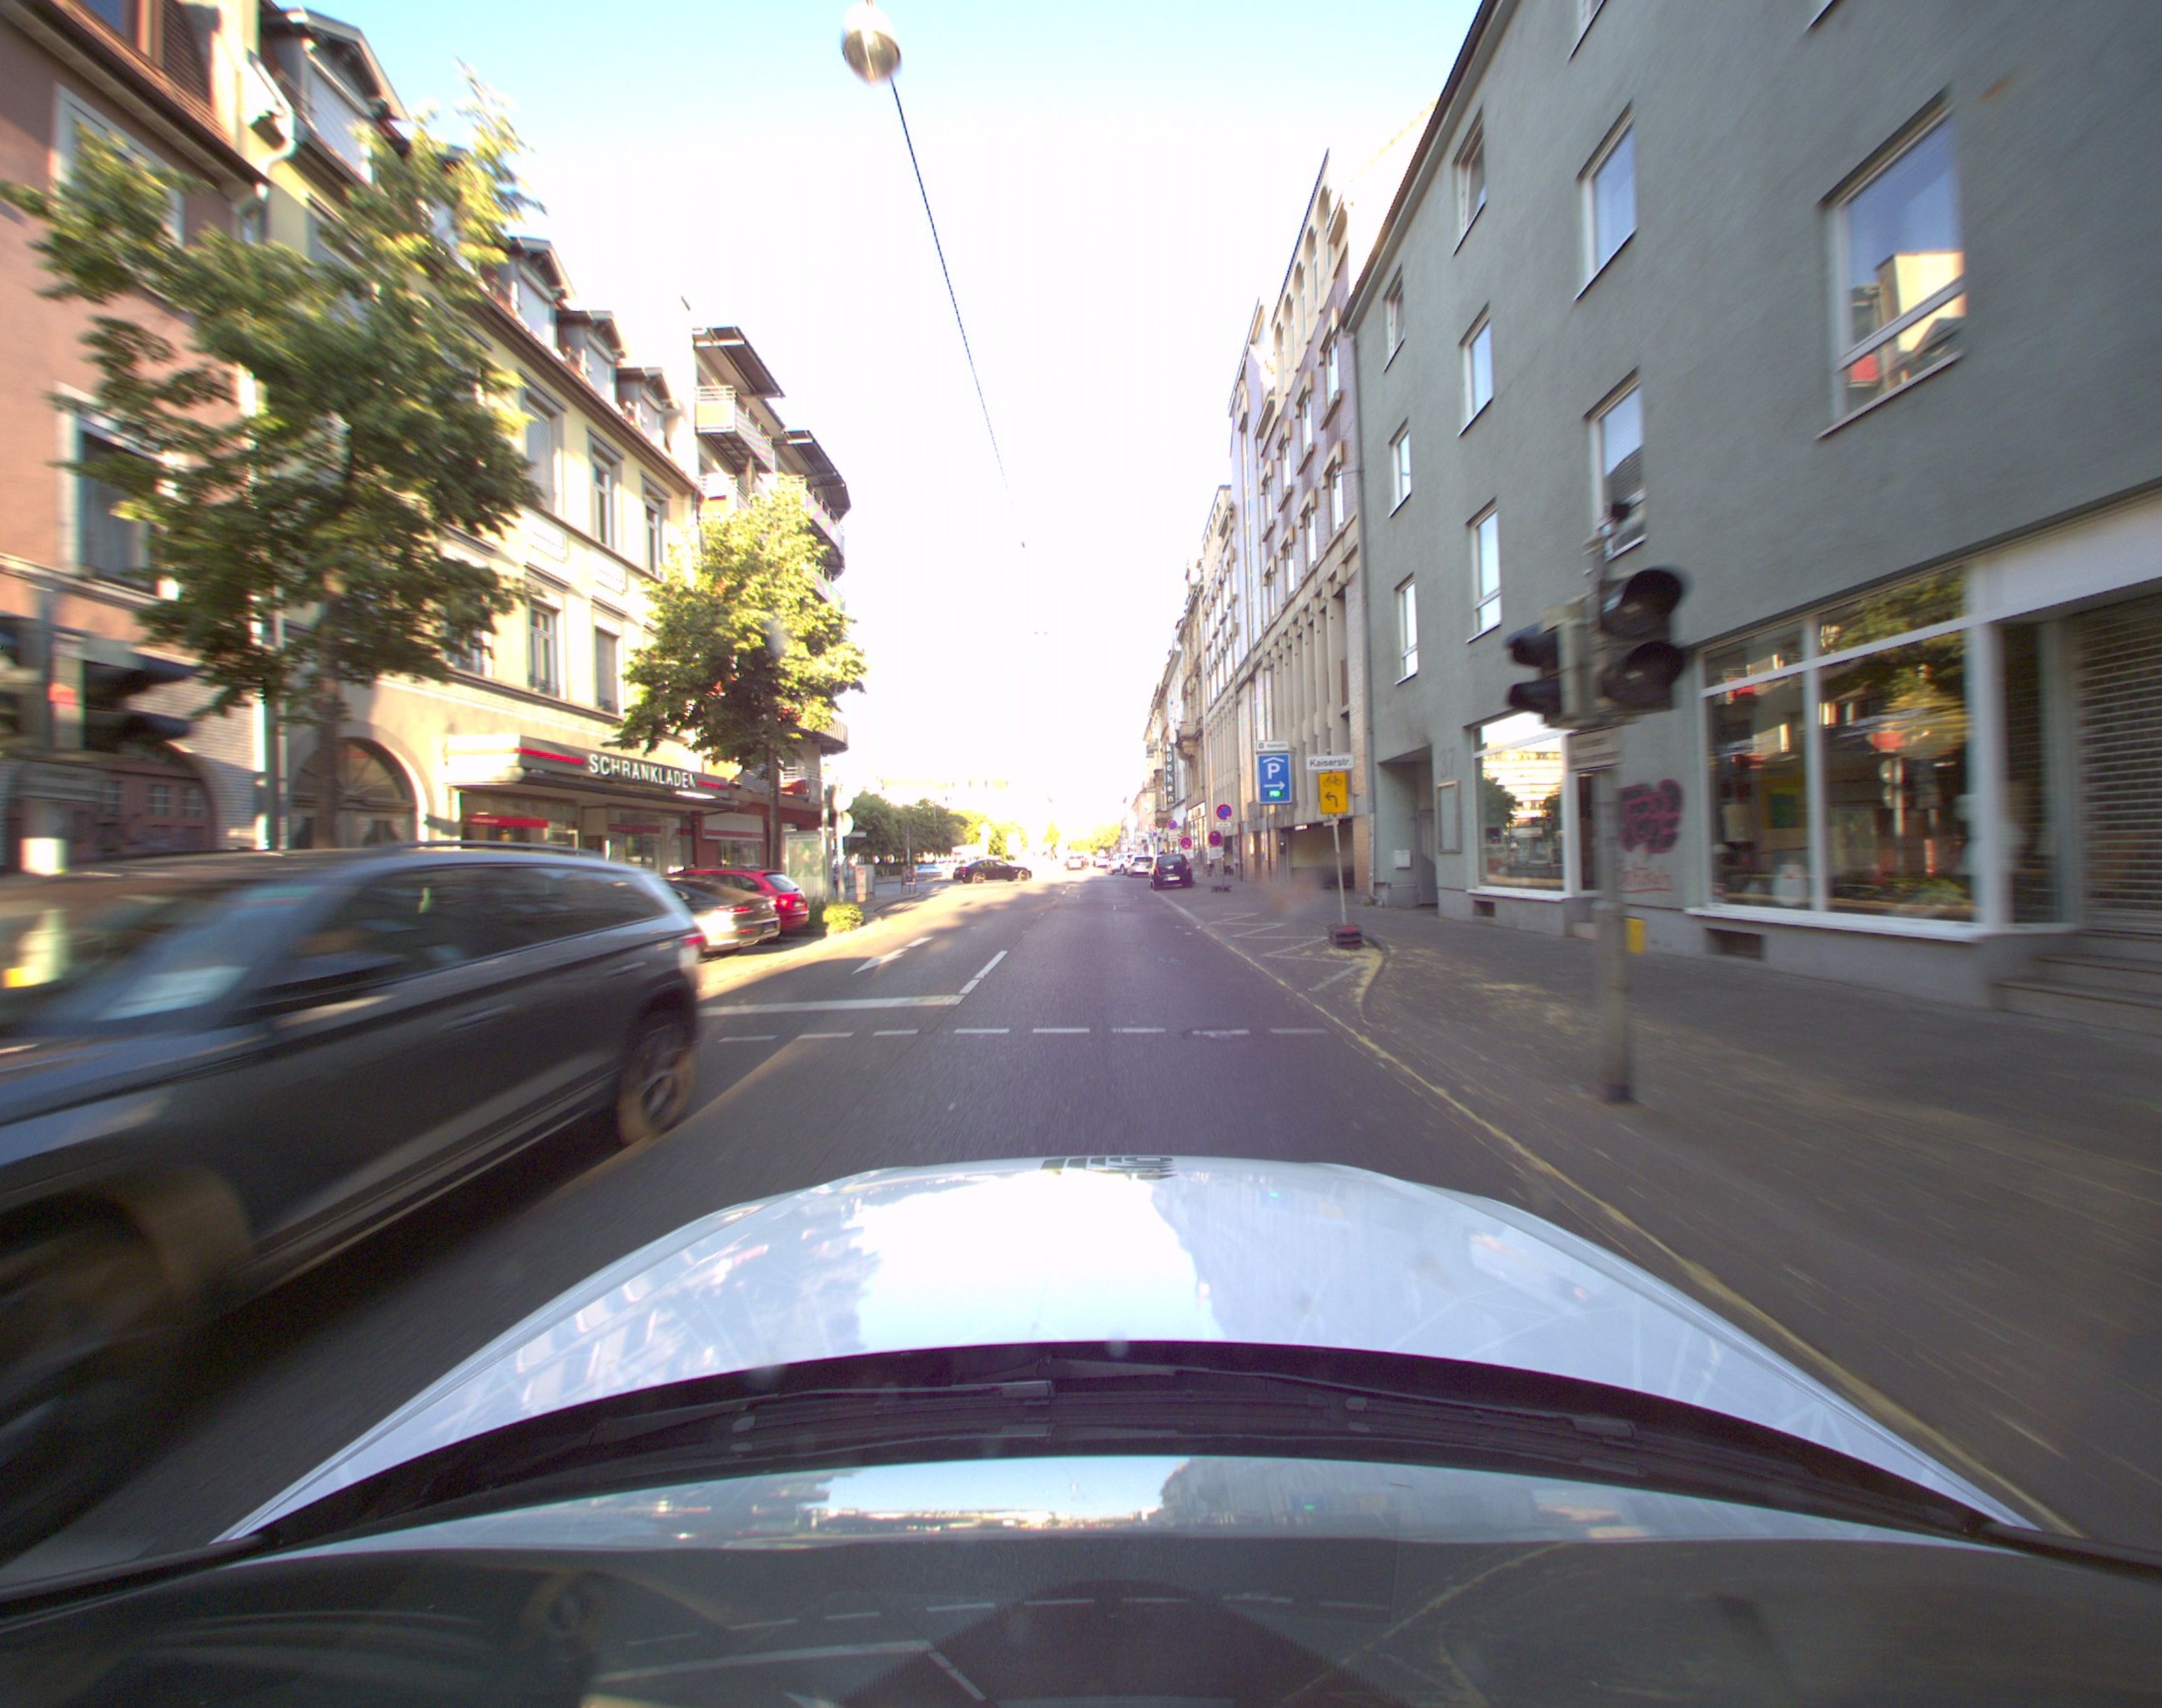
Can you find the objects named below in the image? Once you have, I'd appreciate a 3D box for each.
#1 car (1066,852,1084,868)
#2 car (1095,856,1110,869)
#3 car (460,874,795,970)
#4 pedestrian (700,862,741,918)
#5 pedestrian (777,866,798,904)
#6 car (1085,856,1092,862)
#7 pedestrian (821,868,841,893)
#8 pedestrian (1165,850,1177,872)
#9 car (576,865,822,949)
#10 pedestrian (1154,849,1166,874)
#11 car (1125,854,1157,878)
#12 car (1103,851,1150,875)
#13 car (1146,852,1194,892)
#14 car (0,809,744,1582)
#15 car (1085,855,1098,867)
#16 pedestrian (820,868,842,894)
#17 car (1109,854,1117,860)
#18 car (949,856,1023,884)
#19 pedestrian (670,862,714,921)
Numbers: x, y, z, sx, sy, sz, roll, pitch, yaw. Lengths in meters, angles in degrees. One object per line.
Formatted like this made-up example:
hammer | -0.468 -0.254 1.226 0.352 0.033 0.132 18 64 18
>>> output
car | -0.616 0.691 88.056 1.890 1.649 4.104 -1 0 1
car | 2.682 1.018 102.935 1.890 1.581 4.000 0 0 1
car | -7.417 1.085 13.663 4.556 1.407 1.821 -1 0 -1
pedestrian | -10.035 0.989 22.693 0.731 1.528 0.876 0 -2 1
pedestrian | -12.533 1.321 34.811 0.594 1.595 0.702 -3 -2 2
car | 1.880 1.230 211.471 1.773 1.547 4.000 -1 0 0
pedestrian | -12.958 1.370 42.296 0.826 1.273 0.746 -2 -2 -8
pedestrian | 7.027 0.540 63.634 0.770 1.711 1.042 -3 0 1
car | -7.586 1.021 16.468 4.058 1.536 1.884 -1 0 1
pedestrian | 6.190 0.582 63.574 0.770 1.827 1.011 -3 0 0
car | 3.984 0.792 54.698 1.753 1.536 4.819 0 -1 -1
car | 3.479 0.704 63.194 2.001 1.761 4.434 -2 0 -21
car | 3.873 0.738 36.095 1.752 1.536 4.002 -5 0 2
car | -3.292 0.766 3.319 1.855 1.692 4.461 -2 0 1
car | 1.533 1.006 116.545 1.890 1.581 3.852 1 0 1
pedestrian | -12.752 1.374 41.516 0.897 1.242 0.765 -2 -2 -8
car | 8.223 0.779 207.096 1.890 1.581 3.852 -2 0 1
car | -5.708 0.945 49.100 4.014 1.581 1.884 0 0 -32
pedestrian | -10.810 1.034 22.665 0.769 1.608 0.876 0 -2 1
